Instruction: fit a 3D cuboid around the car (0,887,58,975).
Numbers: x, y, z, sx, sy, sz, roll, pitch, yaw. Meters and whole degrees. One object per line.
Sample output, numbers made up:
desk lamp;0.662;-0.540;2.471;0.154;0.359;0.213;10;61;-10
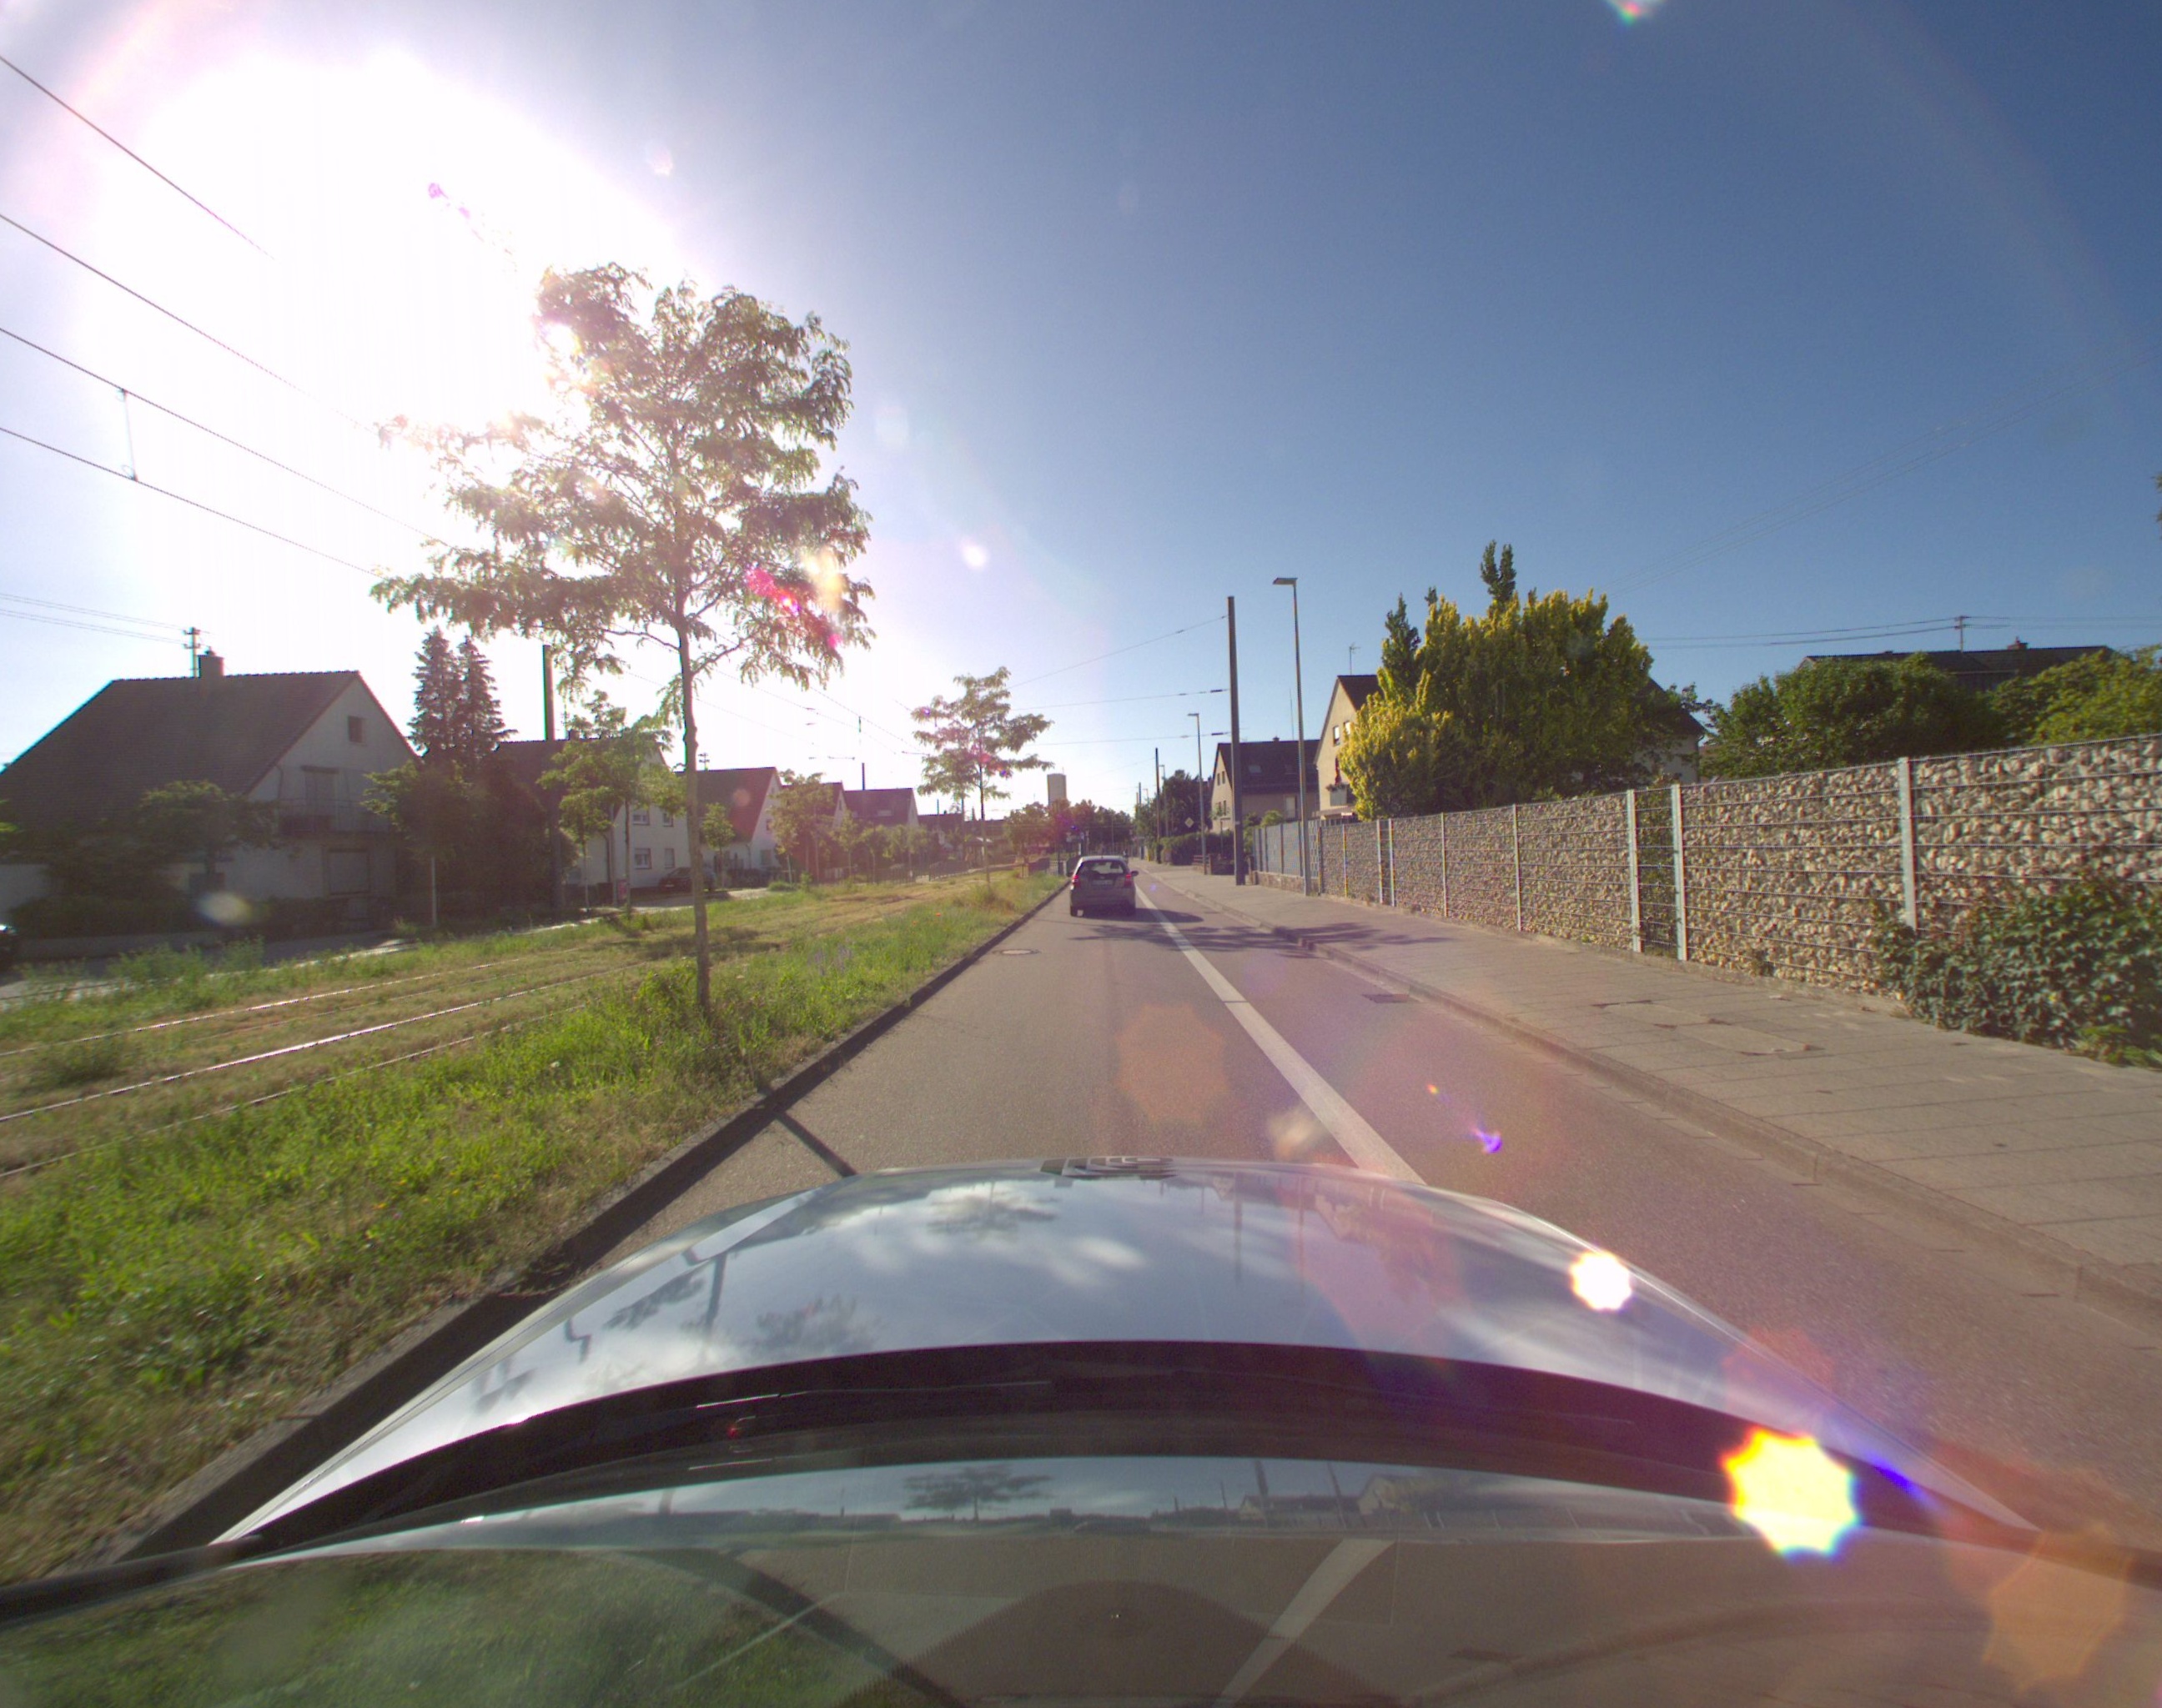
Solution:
car;-23.947;1.669;15.973;4.541;1.734;2.046;-3;0;-10

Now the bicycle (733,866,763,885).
bicycle;-25.297;1.603;61.875;1.985;1.365;0.703;-2;0;-5

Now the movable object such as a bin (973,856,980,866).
movable object such as a bin;-9.984;0.671;77.775;0.545;0.988;0.741;-2;0;-2

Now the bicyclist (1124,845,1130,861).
bicyclist;4.993;-0.075;88.198;0.596;1.701;0.684;-1;-1;2

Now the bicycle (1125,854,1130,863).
bicycle;5.079;0.521;88.470;0.473;0.961;1.658;-1;-1;2

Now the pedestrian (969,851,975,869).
pedestrian;-10.677;0.564;79.624;0.518;1.708;0.580;-2;0;-3

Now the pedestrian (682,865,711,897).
pedestrian;-20.064;1.404;42.509;0.961;1.640;1.086;-2;0;1

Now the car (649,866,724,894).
car;-24.196;1.567;50.154;1.927;1.450;5.164;-2;0;2

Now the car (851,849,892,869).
car;-22.133;0.538;86.150;3.982;1.970;1.929;-1;-1;-6

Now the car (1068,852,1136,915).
car;0.547;0.741;21.764;1.664;1.536;3.487;-1;0;1

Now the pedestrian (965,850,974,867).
pedestrian;-10.645;0.435;77.739;0.673;1.535;0.748;-2;0;-3
